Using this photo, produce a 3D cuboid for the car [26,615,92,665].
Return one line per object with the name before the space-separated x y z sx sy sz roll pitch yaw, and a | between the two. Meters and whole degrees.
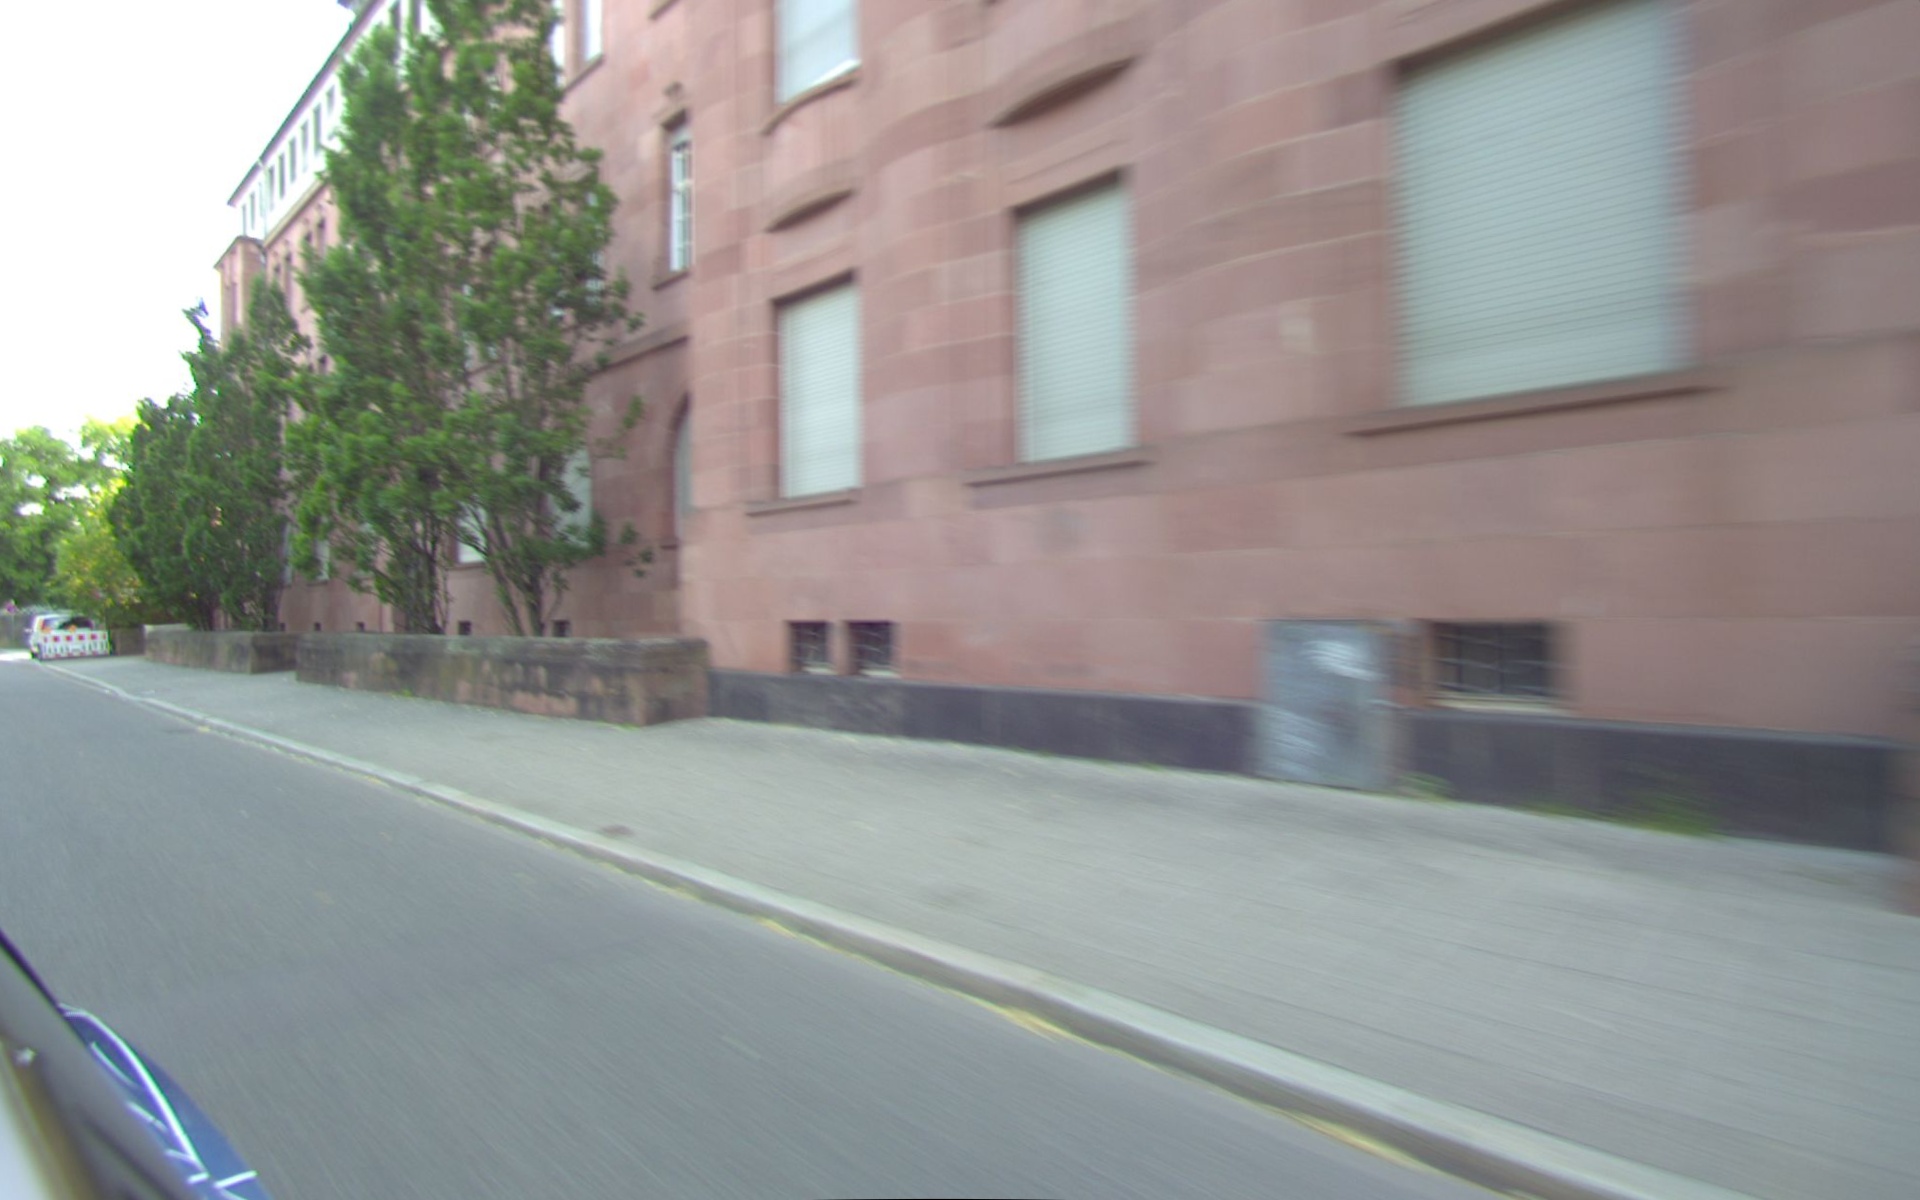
car | -39.862 1.706 44.736 4.326 2.067 1.860 0 -1 44
